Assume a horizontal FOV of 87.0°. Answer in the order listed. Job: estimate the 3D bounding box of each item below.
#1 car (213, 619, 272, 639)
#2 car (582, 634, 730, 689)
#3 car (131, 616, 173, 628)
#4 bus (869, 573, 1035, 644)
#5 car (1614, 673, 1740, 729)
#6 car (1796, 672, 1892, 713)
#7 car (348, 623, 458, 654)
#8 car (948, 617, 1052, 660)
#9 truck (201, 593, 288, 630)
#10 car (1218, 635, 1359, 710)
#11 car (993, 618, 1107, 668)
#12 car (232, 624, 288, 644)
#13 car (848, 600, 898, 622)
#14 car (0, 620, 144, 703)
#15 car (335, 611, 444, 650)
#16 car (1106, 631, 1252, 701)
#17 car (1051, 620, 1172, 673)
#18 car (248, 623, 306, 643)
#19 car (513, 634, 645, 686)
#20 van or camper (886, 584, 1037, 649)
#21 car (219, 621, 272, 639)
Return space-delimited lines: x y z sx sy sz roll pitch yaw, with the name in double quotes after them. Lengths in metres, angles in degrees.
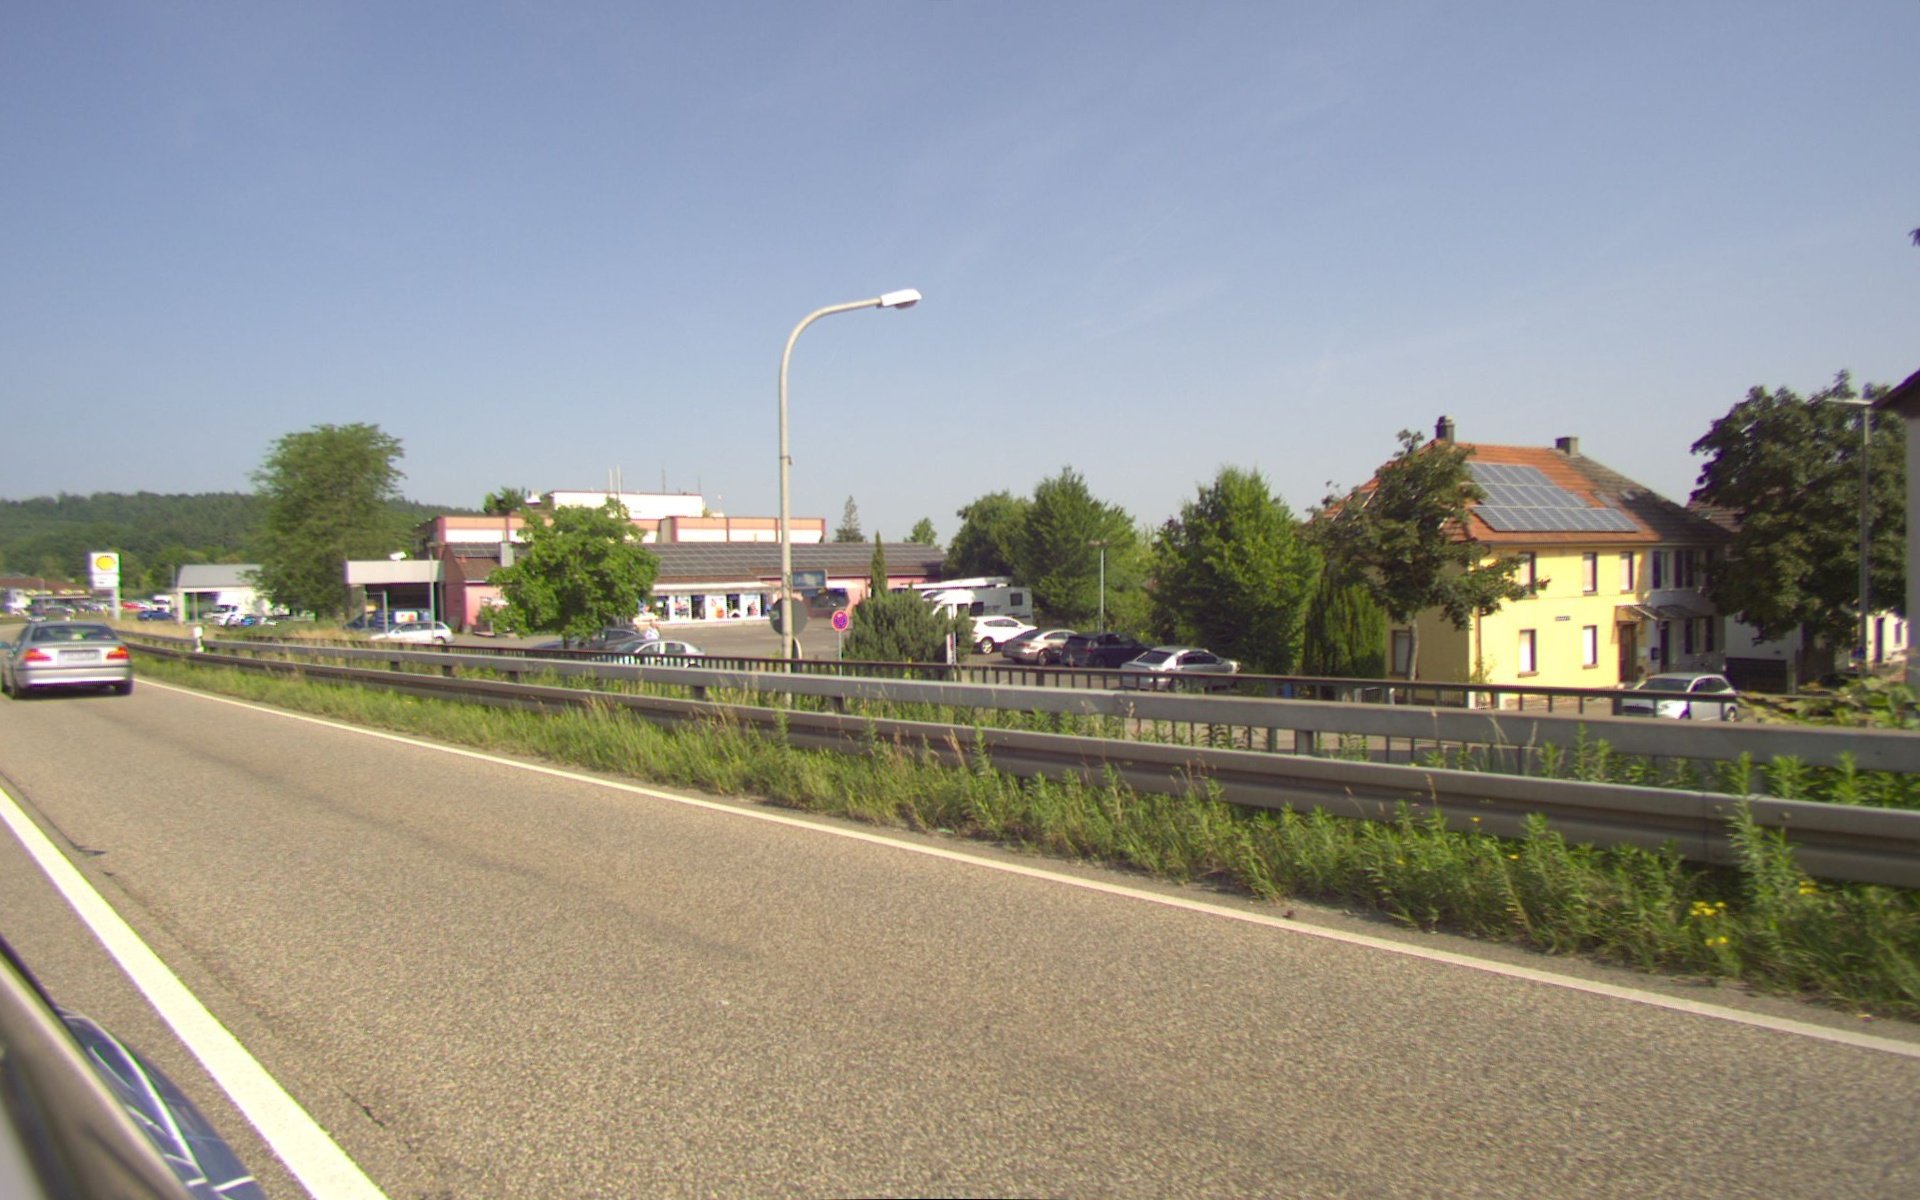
-67.336 2.671 95.005 4.299 1.667 1.934 -2 1 -43 "car"
-9.878 1.950 33.046 4.249 1.516 1.876 -1 -1 -44 "car"
-112.656 3.098 141.108 1.968 1.518 4.210 -1 -1 16 "car"
-0.290 0.398 54.611 8.981 3.380 2.671 -2 -1 -37 "bus"
21.074 2.910 29.715 3.781 1.450 1.759 1 -3 -34 "car"
30.678 3.162 35.101 3.781 1.260 1.559 1 -3 -34 "car"
-28.332 1.906 51.579 1.743 1.392 4.566 -2 -1 42 "car"
1.825 1.686 45.763 4.499 1.645 1.866 -2 0 -37 "car"
-73.919 1.091 104.817 2.769 3.583 8.205 -2 0 3 "truck"
9.869 2.111 30.330 4.103 1.645 1.867 -5 4 -33 "car"
3.674 1.681 40.769 4.499 1.646 1.866 -2 3 -37 "car"
-59.709 2.905 86.327 3.701 1.511 1.935 -2 1 -41 "car"
-6.757 0.891 78.136 1.714 1.620 4.641 -1 -1 -36 "car"
-17.058 1.098 19.291 3.989 1.421 1.739 -1 -2 42 "car"
-31.313 1.655 55.700 4.824 2.029 2.005 -1 0 -12 "car"
7.086 2.051 32.601 4.496 1.645 1.868 -5 4 -30 "car"
5.820 1.726 38.619 4.497 1.646 1.867 -2 3 -34 "car"
-55.339 2.681 81.989 3.701 1.471 1.864 -1 0 -41 "car"
-14.168 2.172 37.799 1.874 1.678 4.253 -1 -1 43 "car"
0.159 0.754 50.409 7.299 2.863 2.753 -2 1 -37 "van or camper"
-65.531 2.746 92.861 3.703 1.511 1.934 -2 1 -43 "car"
